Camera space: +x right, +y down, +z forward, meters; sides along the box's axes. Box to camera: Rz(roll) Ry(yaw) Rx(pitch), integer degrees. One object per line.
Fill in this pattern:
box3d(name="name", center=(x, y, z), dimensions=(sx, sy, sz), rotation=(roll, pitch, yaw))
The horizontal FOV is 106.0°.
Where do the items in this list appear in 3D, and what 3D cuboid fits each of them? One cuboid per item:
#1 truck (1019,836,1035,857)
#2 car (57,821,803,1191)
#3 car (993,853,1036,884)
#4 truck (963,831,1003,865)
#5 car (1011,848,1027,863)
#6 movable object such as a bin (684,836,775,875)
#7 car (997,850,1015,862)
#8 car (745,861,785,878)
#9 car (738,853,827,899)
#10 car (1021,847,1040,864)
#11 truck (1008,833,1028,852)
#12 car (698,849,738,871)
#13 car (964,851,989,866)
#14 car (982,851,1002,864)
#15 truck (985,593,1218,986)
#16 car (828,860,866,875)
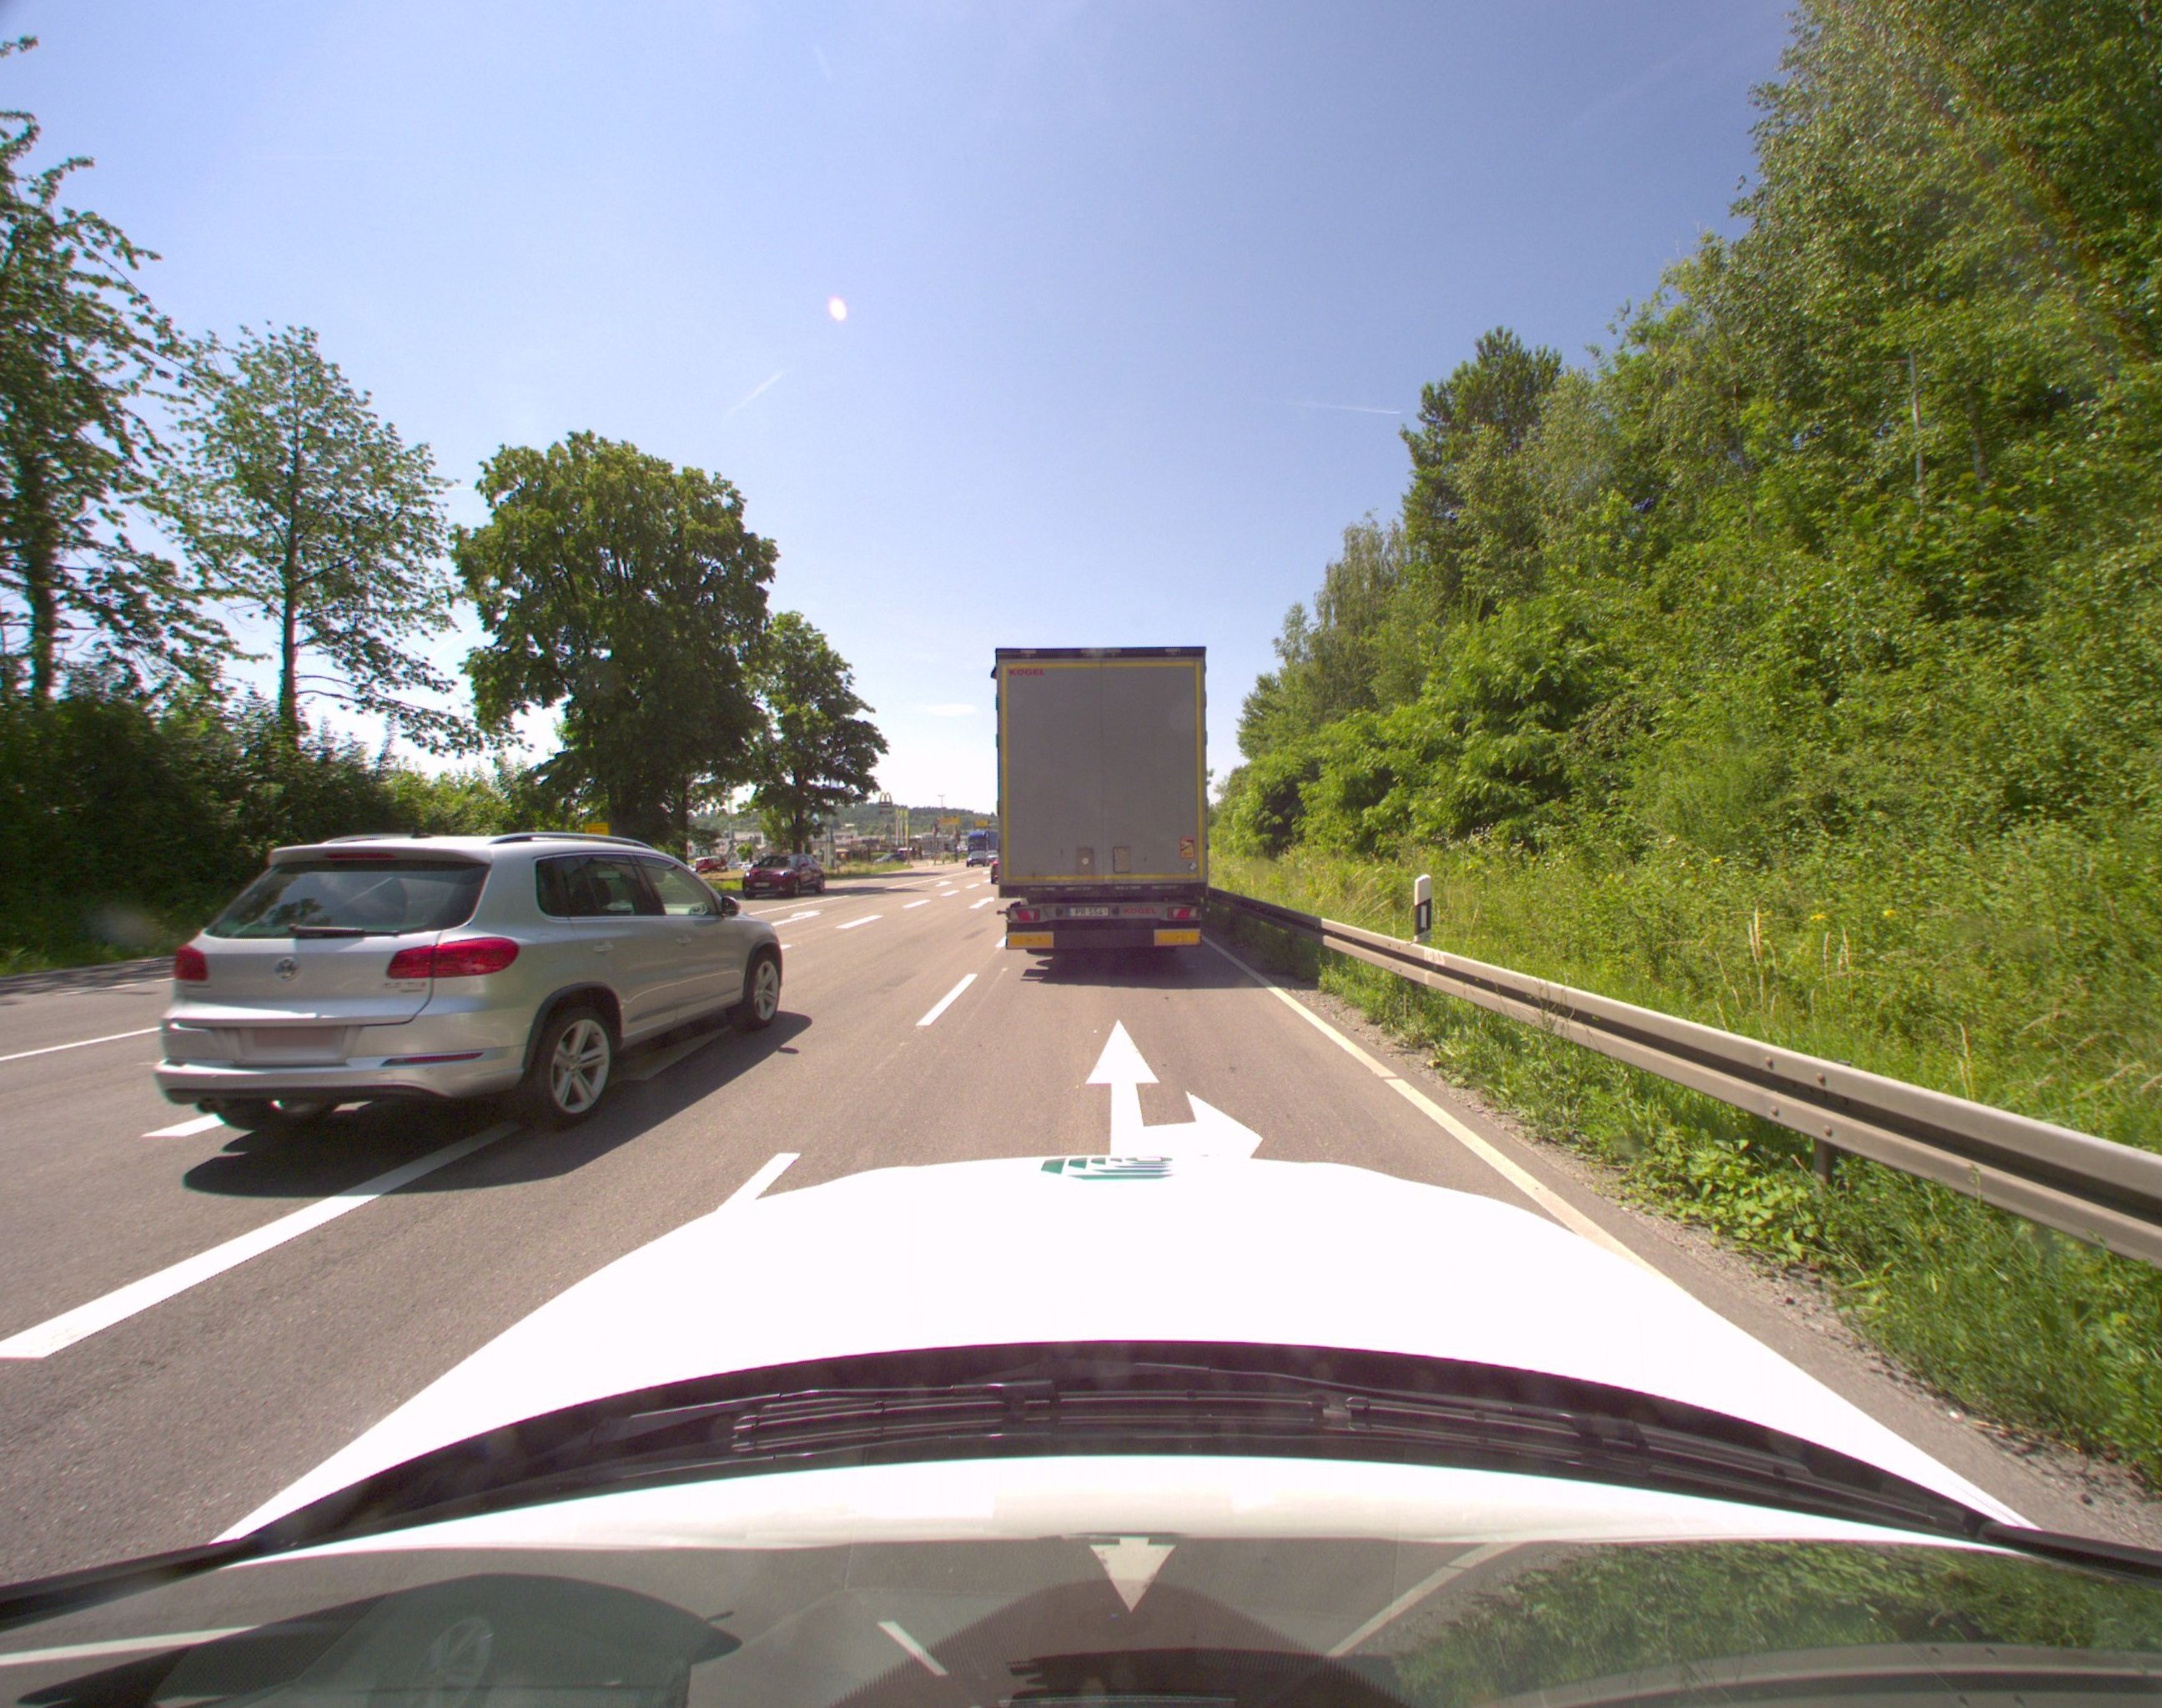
box3d(name="truck", center=(-12.281, -1.620, 183.200), dimensions=(3.141, 4.349, 17.509), rotation=(-1, 0, -5))
box3d(name="car", center=(-3.692, 0.675, 5.838), dimensions=(1.798, 1.670, 4.293), rotation=(0, 0, 2))
box3d(name="car", center=(-3.173, 0.670, 39.536), dimensions=(1.680, 1.398, 4.403), rotation=(-1, 0, 0))
box3d(name="truck", center=(-12.960, -0.725, 109.315), dimensions=(2.958, 4.176, 16.576), rotation=(-1, 0, 1))
box3d(name="car", center=(-8.472, 0.204, 112.267), dimensions=(1.766, 2.013, 4.002), rotation=(-1, 0, 2))
box3d(name="movable object such as a bin", center=(-31.837, 0.084, 73.971), dimensions=(3.013, 3.298, 6.835), rotation=(-1, 1, 41))
box3d(name="car", center=(-9.343, 0.270, 101.837), dimensions=(1.635, 1.438, 4.019), rotation=(-1, 1, 2))
box3d(name="car", center=(-31.683, 1.542, 81.564), dimensions=(3.948, 1.651, 2.013), rotation=(-1, 0, 38))
box3d(name="car", center=(-10.614, 0.742, 29.245), dimensions=(1.898, 1.508, 3.761), rotation=(-1, 0, -2))
box3d(name="car", center=(-6.185, 0.191, 100.476), dimensions=(1.986, 2.013, 4.001), rotation=(-1, 0, 1))
box3d(name="truck", center=(-11.722, -2.040, 153.026), dimensions=(2.837, 3.351, 11.480), rotation=(-1, 0, 0))
box3d(name="car", center=(-34.963, 0.562, 78.380), dimensions=(3.949, 2.013, 2.012), rotation=(-1, 0, 42))
box3d(name="car", center=(-9.749, 0.402, 76.129), dimensions=(1.761, 1.386, 3.999), rotation=(0, -1, 0))
box3d(name="car", center=(-9.708, 0.366, 88.875), dimensions=(1.761, 1.386, 3.999), rotation=(0, -1, 0))
box3d(name="truck", center=(0.510, -0.688, 17.949), dimensions=(2.745, 4.639, 16.661), rotation=(0, -1, 2))
box3d(name="car", center=(-24.990, 1.422, 86.911), dimensions=(3.948, 1.618, 1.852), rotation=(-1, 0, 38))
